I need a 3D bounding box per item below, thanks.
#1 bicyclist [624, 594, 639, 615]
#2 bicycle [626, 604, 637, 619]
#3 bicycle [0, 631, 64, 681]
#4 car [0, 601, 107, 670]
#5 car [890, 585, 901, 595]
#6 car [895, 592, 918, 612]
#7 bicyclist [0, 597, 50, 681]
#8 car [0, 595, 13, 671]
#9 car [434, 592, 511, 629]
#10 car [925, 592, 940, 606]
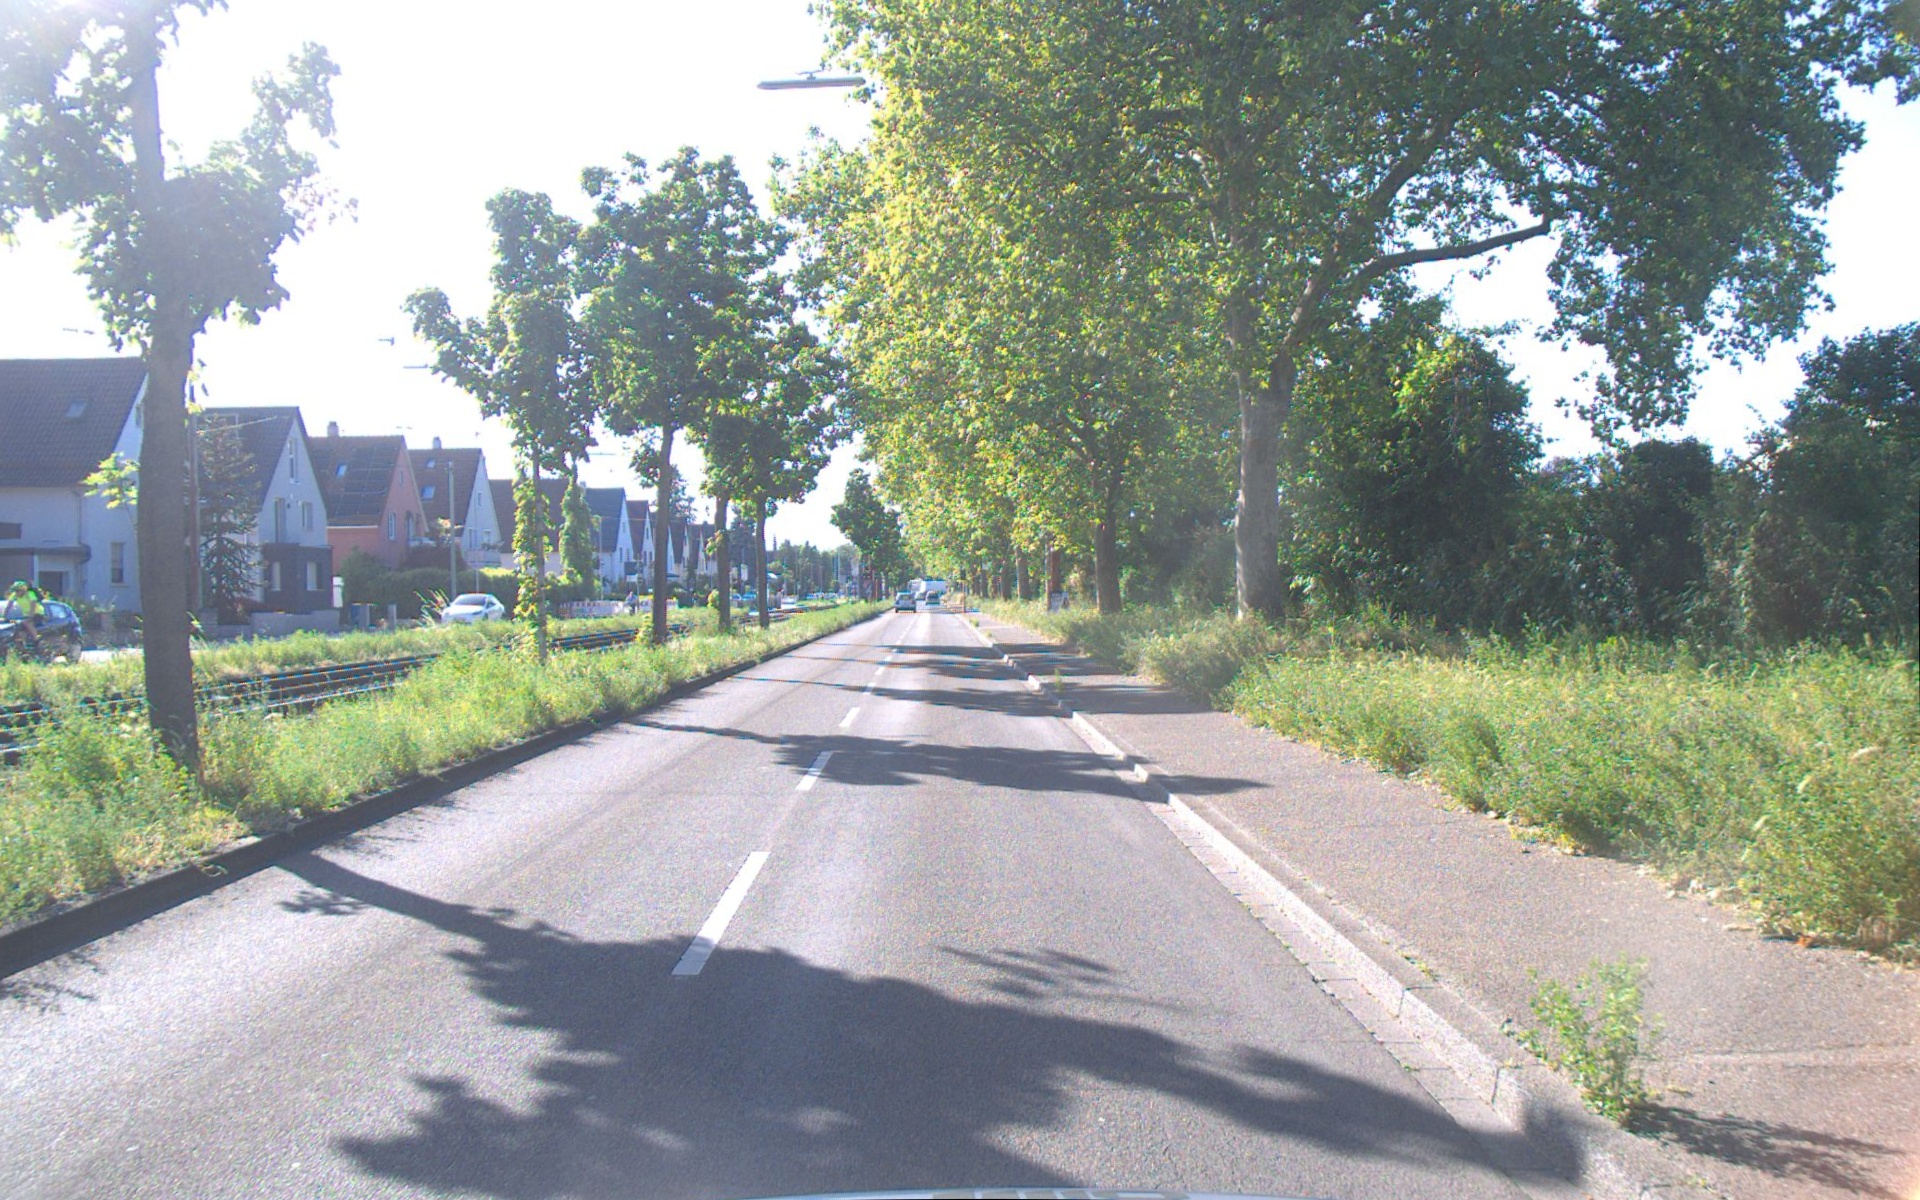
[{"bbox_3d":[-20.381,0.290,102.622,0.783,1.300,0.736,1,-1,-5],"label":"bicyclist"},{"bbox_3d":[-20.356,0.709,102.550,0.432,0.917,2.059,1,0,-5],"label":"bicycle"},{"bbox_3d":[-19.093,1.130,33.860,0.390,0.944,2.096,0,0,0],"label":"bicycle"},{"bbox_3d":[-21.153,0.776,37.520,1.581,1.476,3.988,1,0,-1],"label":"car"},{"bbox_3d":[-9.732,-1.463,250.435,1.496,1.480,3.286,1,0,0],"label":"car"},{"bbox_3d":[-4.028,0.152,124.600,1.703,1.425,3.276,1,0,-1],"label":"car"},{"bbox_3d":[-19.097,0.780,33.647,0.674,1.681,0.881,0,0,-1],"label":"bicyclist"},{"bbox_3d":[-21.124,0.681,33.256,1.610,1.595,4.386,1,0,0],"label":"car"},{"bbox_3d":[-22.503,0.492,76.574,1.952,1.627,4.733,1,0,2],"label":"car"},{"bbox_3d":[-3.202,-0.125,192.362,1.725,1.539,3.276,1,0,0],"label":"car"}]
